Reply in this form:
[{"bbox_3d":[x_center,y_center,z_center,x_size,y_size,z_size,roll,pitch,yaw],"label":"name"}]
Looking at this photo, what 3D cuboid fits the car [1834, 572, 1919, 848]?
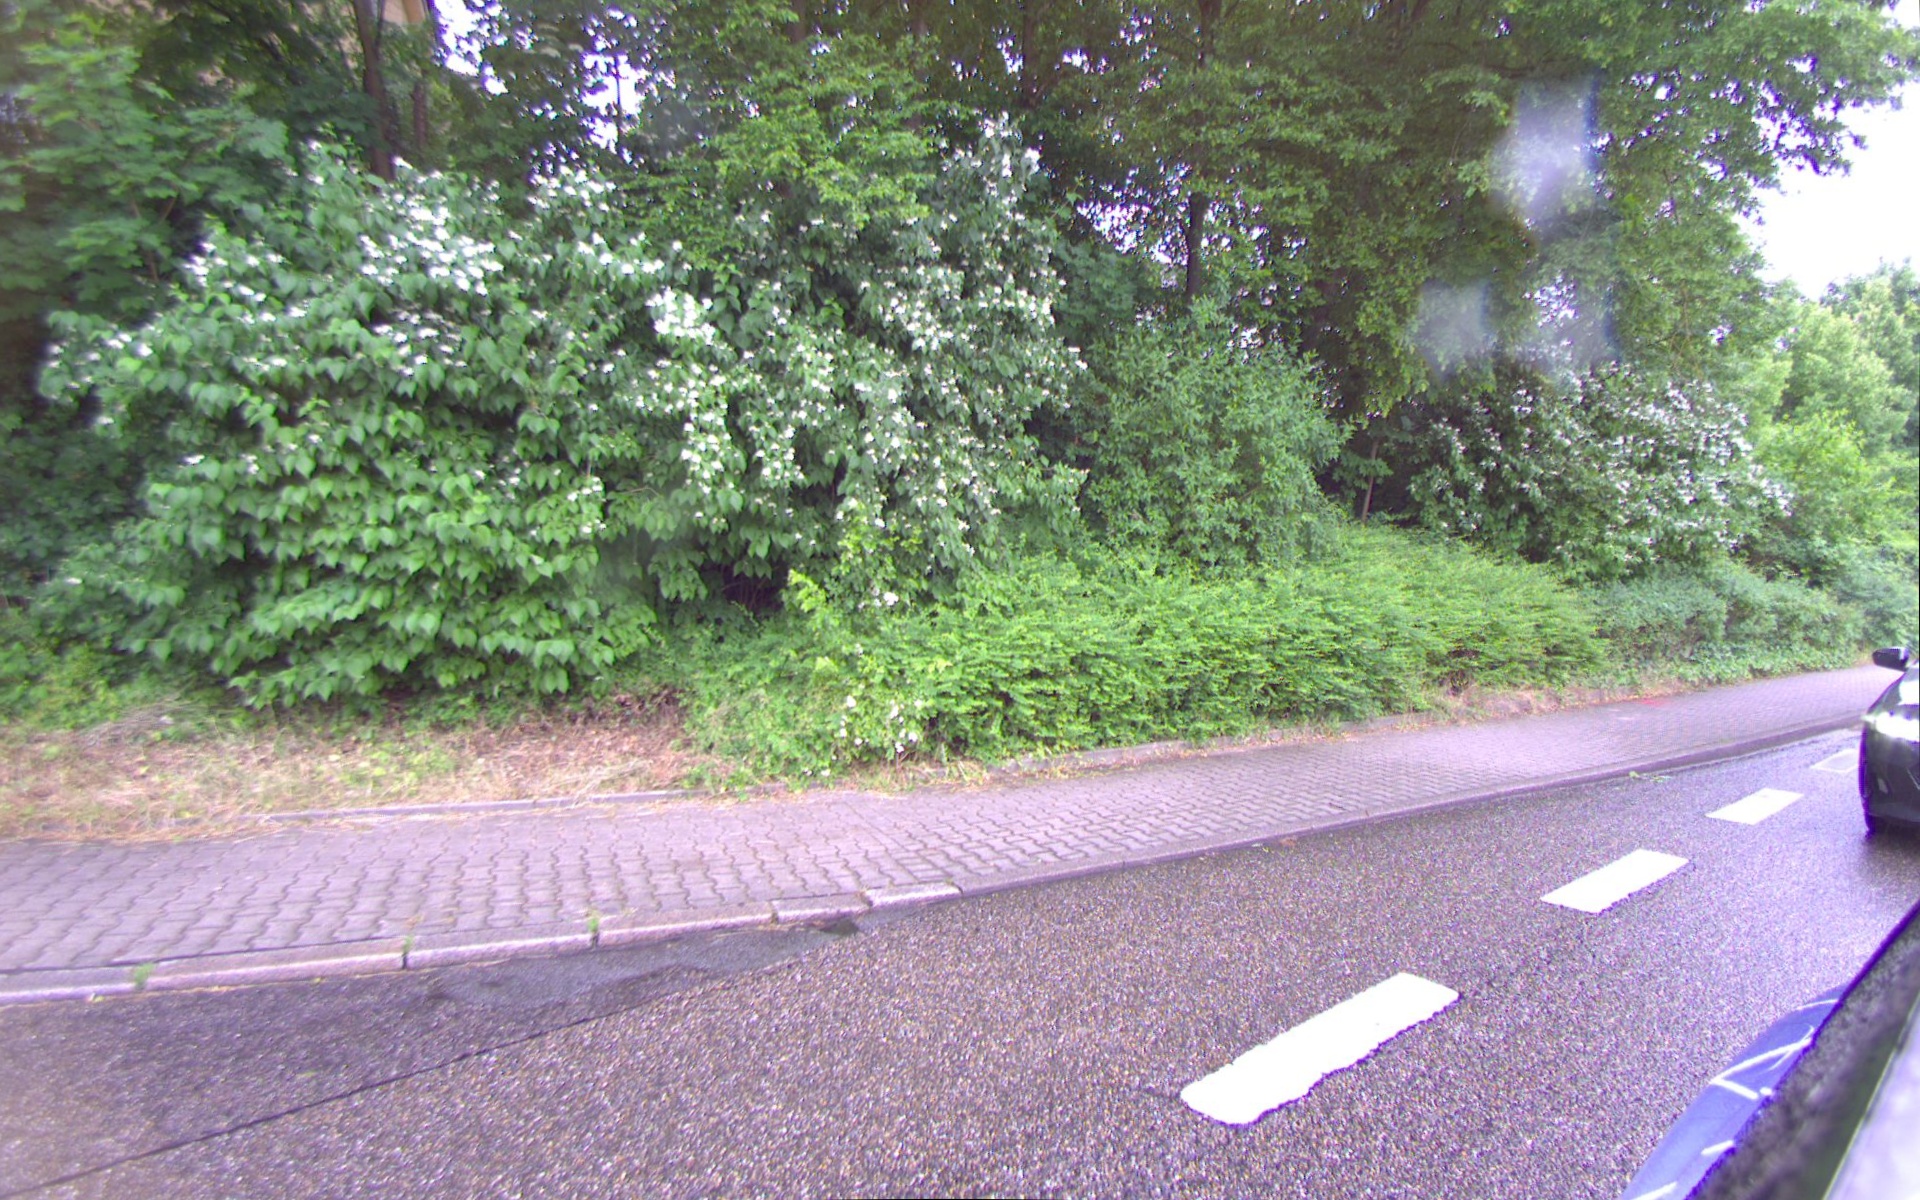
[{"bbox_3d":[7.381,0.640,6.342,4.118,1.524,1.875,0,4,-35],"label":"car"}]
